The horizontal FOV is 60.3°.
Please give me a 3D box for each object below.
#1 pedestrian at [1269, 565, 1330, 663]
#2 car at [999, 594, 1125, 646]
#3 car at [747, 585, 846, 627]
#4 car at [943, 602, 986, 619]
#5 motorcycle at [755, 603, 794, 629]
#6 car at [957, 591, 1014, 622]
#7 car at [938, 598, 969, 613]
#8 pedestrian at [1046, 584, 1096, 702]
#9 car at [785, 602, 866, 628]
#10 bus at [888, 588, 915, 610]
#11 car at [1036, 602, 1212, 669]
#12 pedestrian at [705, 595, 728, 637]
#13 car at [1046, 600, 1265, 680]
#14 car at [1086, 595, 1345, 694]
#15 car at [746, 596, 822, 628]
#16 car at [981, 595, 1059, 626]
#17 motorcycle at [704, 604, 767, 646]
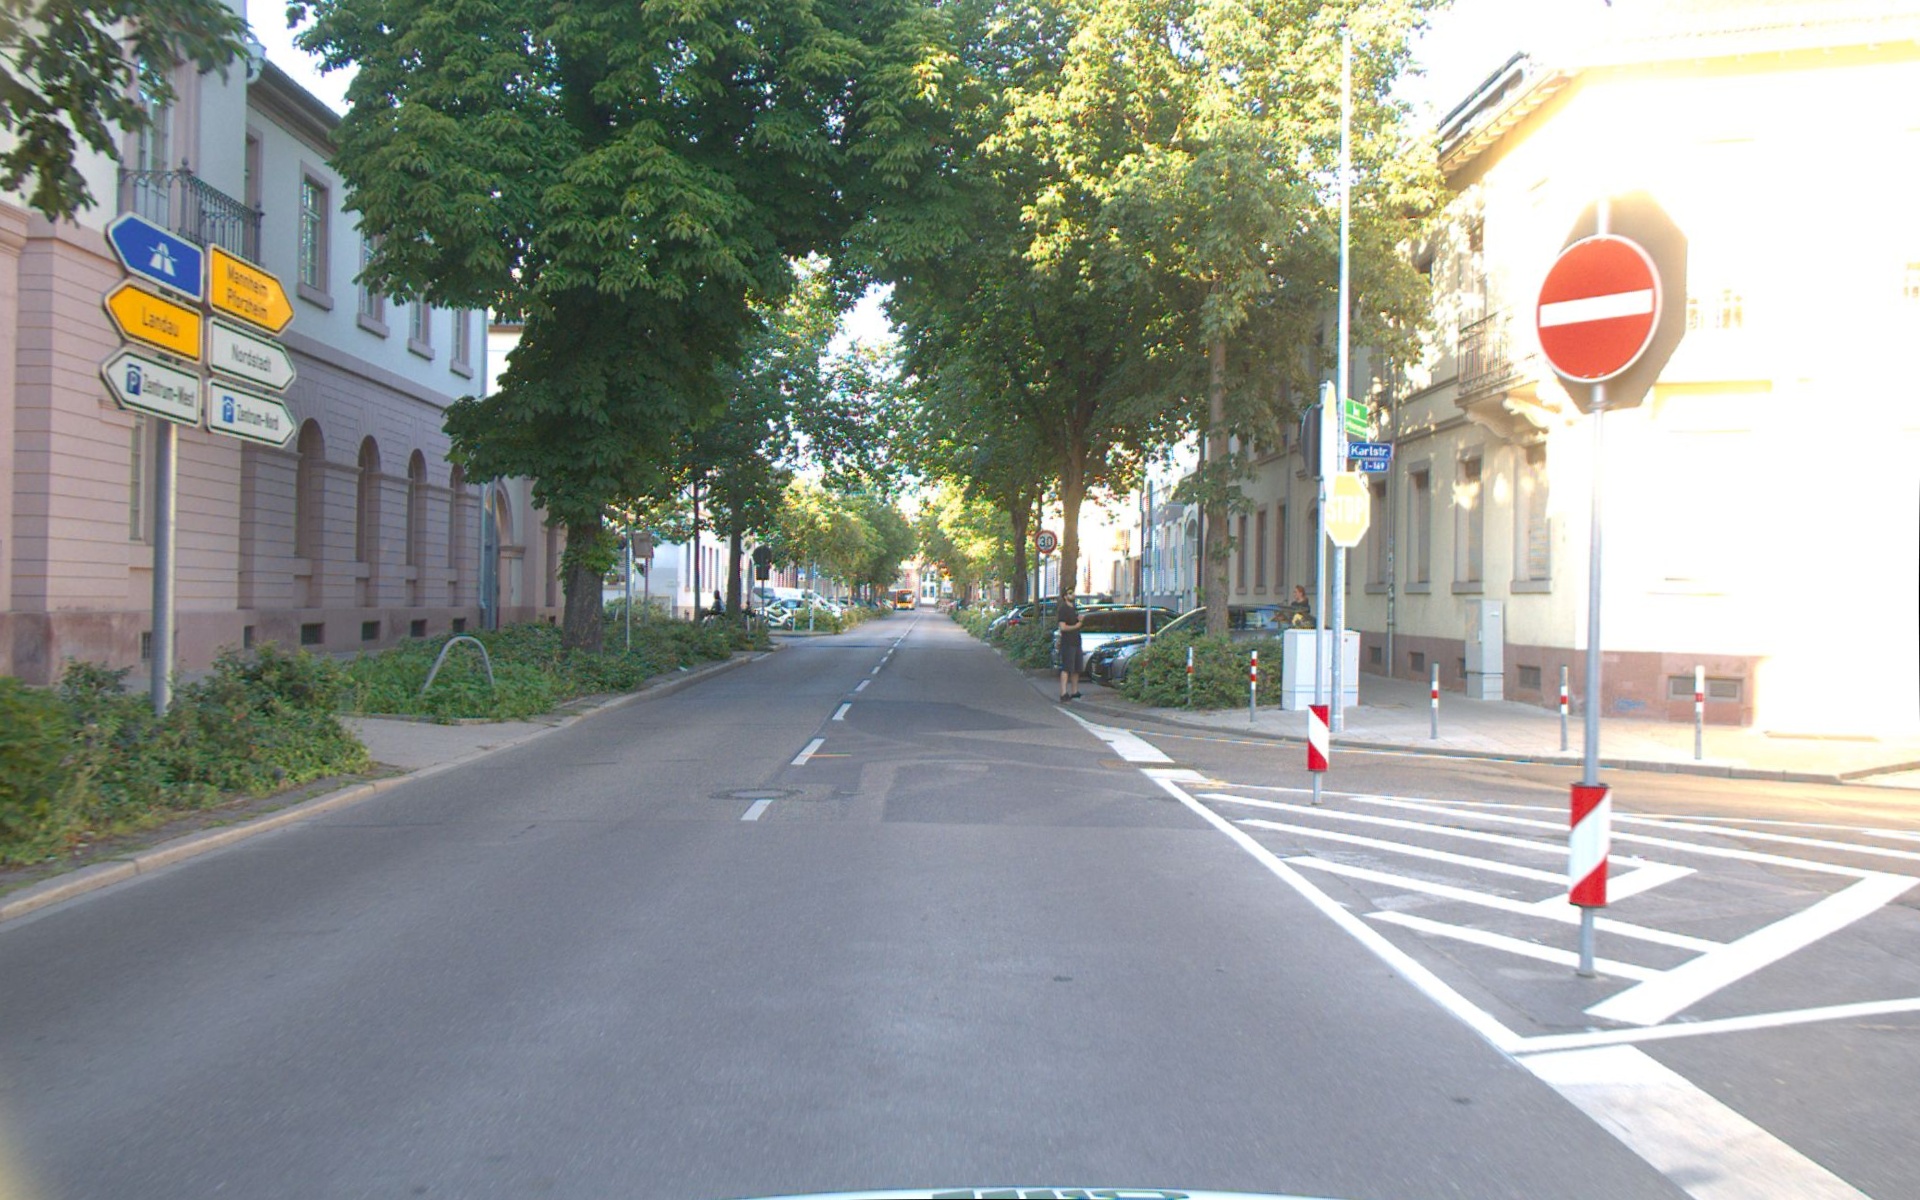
[{"bbox_3d":[6.127,0.247,29.860,0.924,1.736,0.782,1,1,0],"label":"pedestrian"},{"bbox_3d":[3.294,0.644,53.871,3.934,1.651,1.780,0,0,-2],"label":"car"},{"bbox_3d":[-8.527,0.320,86.510,4.961,2.119,2.262,0,0,-2],"label":"car"},{"bbox_3d":[0.391,0.961,151.460,3.907,1.467,1.696,0,0,-3],"label":"car"},{"bbox_3d":[-8.065,0.695,71.930,1.603,1.087,0.656,2,0,-1],"label":"motorcycle"},{"bbox_3d":[1.820,0.446,115.493,3.904,2.049,2.001,1,0,2],"label":"car"},{"bbox_3d":[-0.807,0.744,219.255,3.902,1.870,2.001,1,0,6],"label":"car"},{"bbox_3d":[1.835,0.695,27.258,0.777,1.901,0.752,1,0,4],"label":"pedestrian"},{"bbox_3d":[-8.642,0.959,106.572,4.959,1.645,2.264,0,0,2],"label":"car"},{"bbox_3d":[-8.980,-0.162,252.564,2.971,3.246,9.385,1,0,-8],"label":"bus"},{"bbox_3d":[3.845,0.814,39.148,3.934,1.506,1.780,1,0,-2],"label":"car"},{"bbox_3d":[-8.375,0.547,56.901,0.641,1.419,0.607,2,-1,-1],"label":"pedestrian"},{"bbox_3d":[3.818,0.771,32.850,4.107,1.506,1.852,-1,0,-1],"label":"car"},{"bbox_3d":[4.236,0.723,27.893,4.025,1.516,1.849,1,1,-2],"label":"car"},{"bbox_3d":[-8.602,0.585,81.113,3.653,1.534,1.871,0,0,-5],"label":"car"},{"bbox_3d":[3.474,0.604,96.927,4.499,1.792,2.222,0,0,0],"label":"car"},{"bbox_3d":[-6.970,0.780,51.348,1.880,1.281,0.590,1,0,-1],"label":"motorcycle"}]
